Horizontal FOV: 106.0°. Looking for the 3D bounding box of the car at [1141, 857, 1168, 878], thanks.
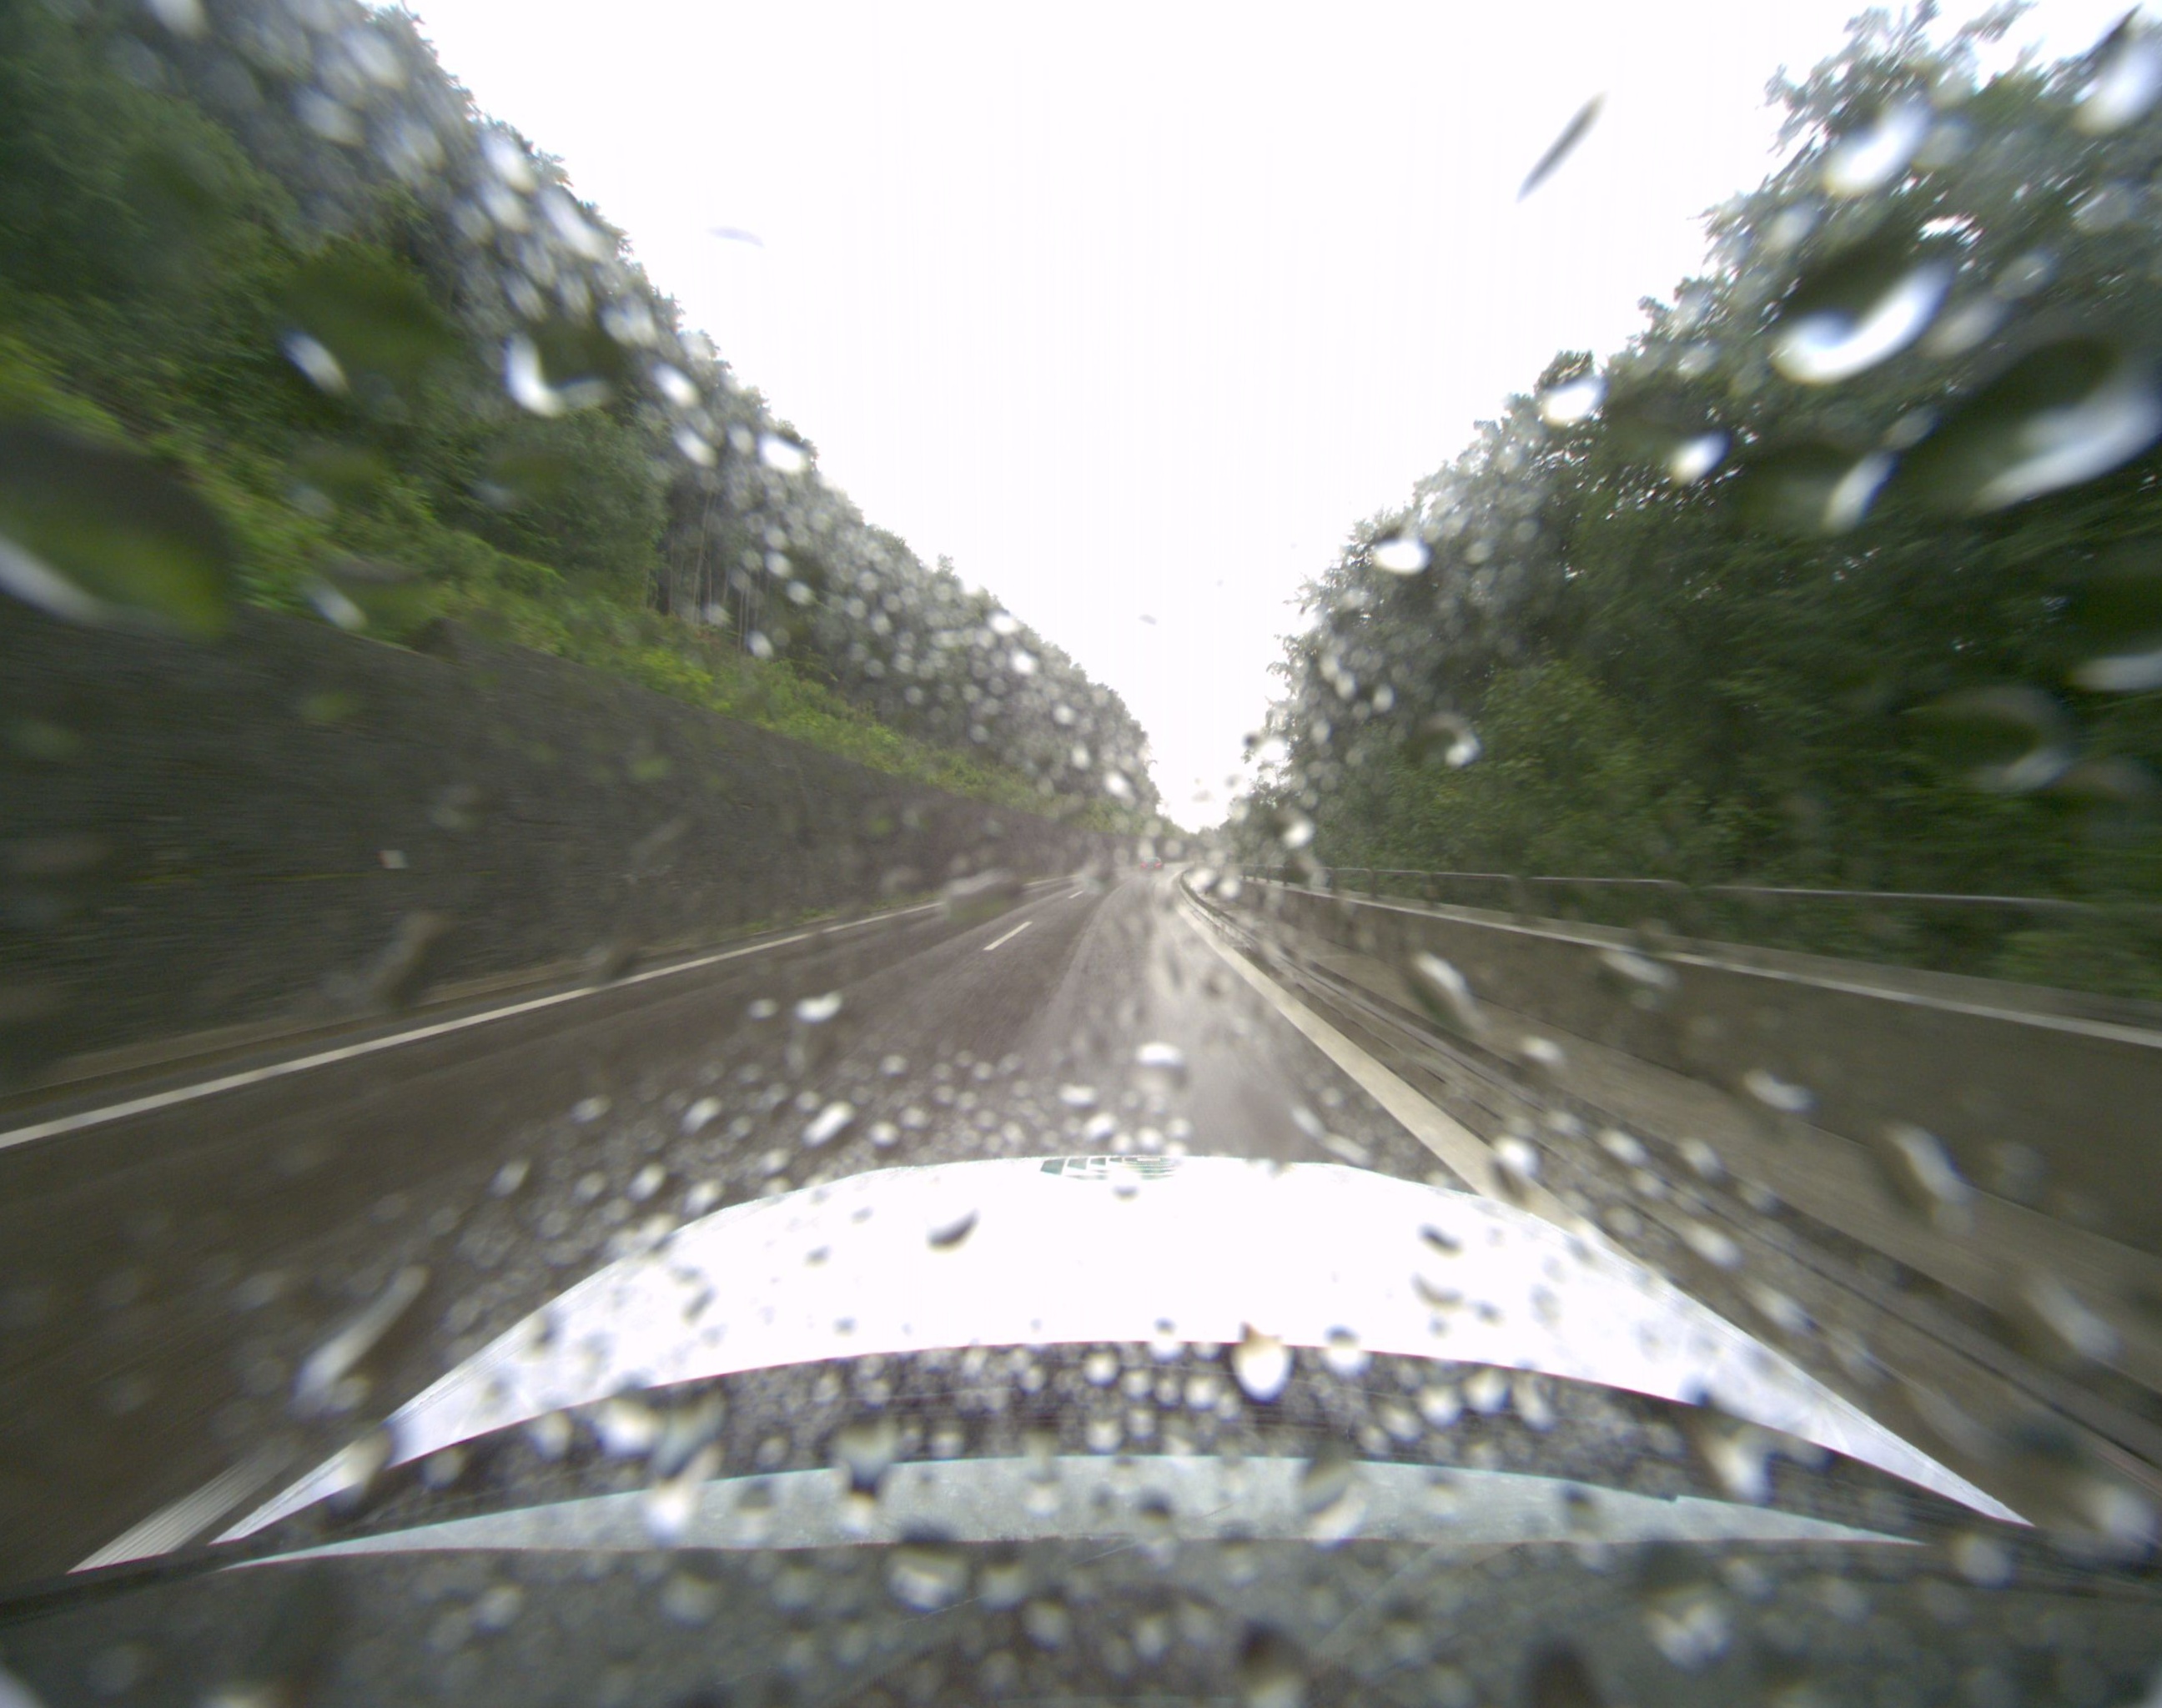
[{"bbox_3d":[5.916,1.059,65.286,1.893,1.499,4.008,-3,-1,7],"label":"car"}]
